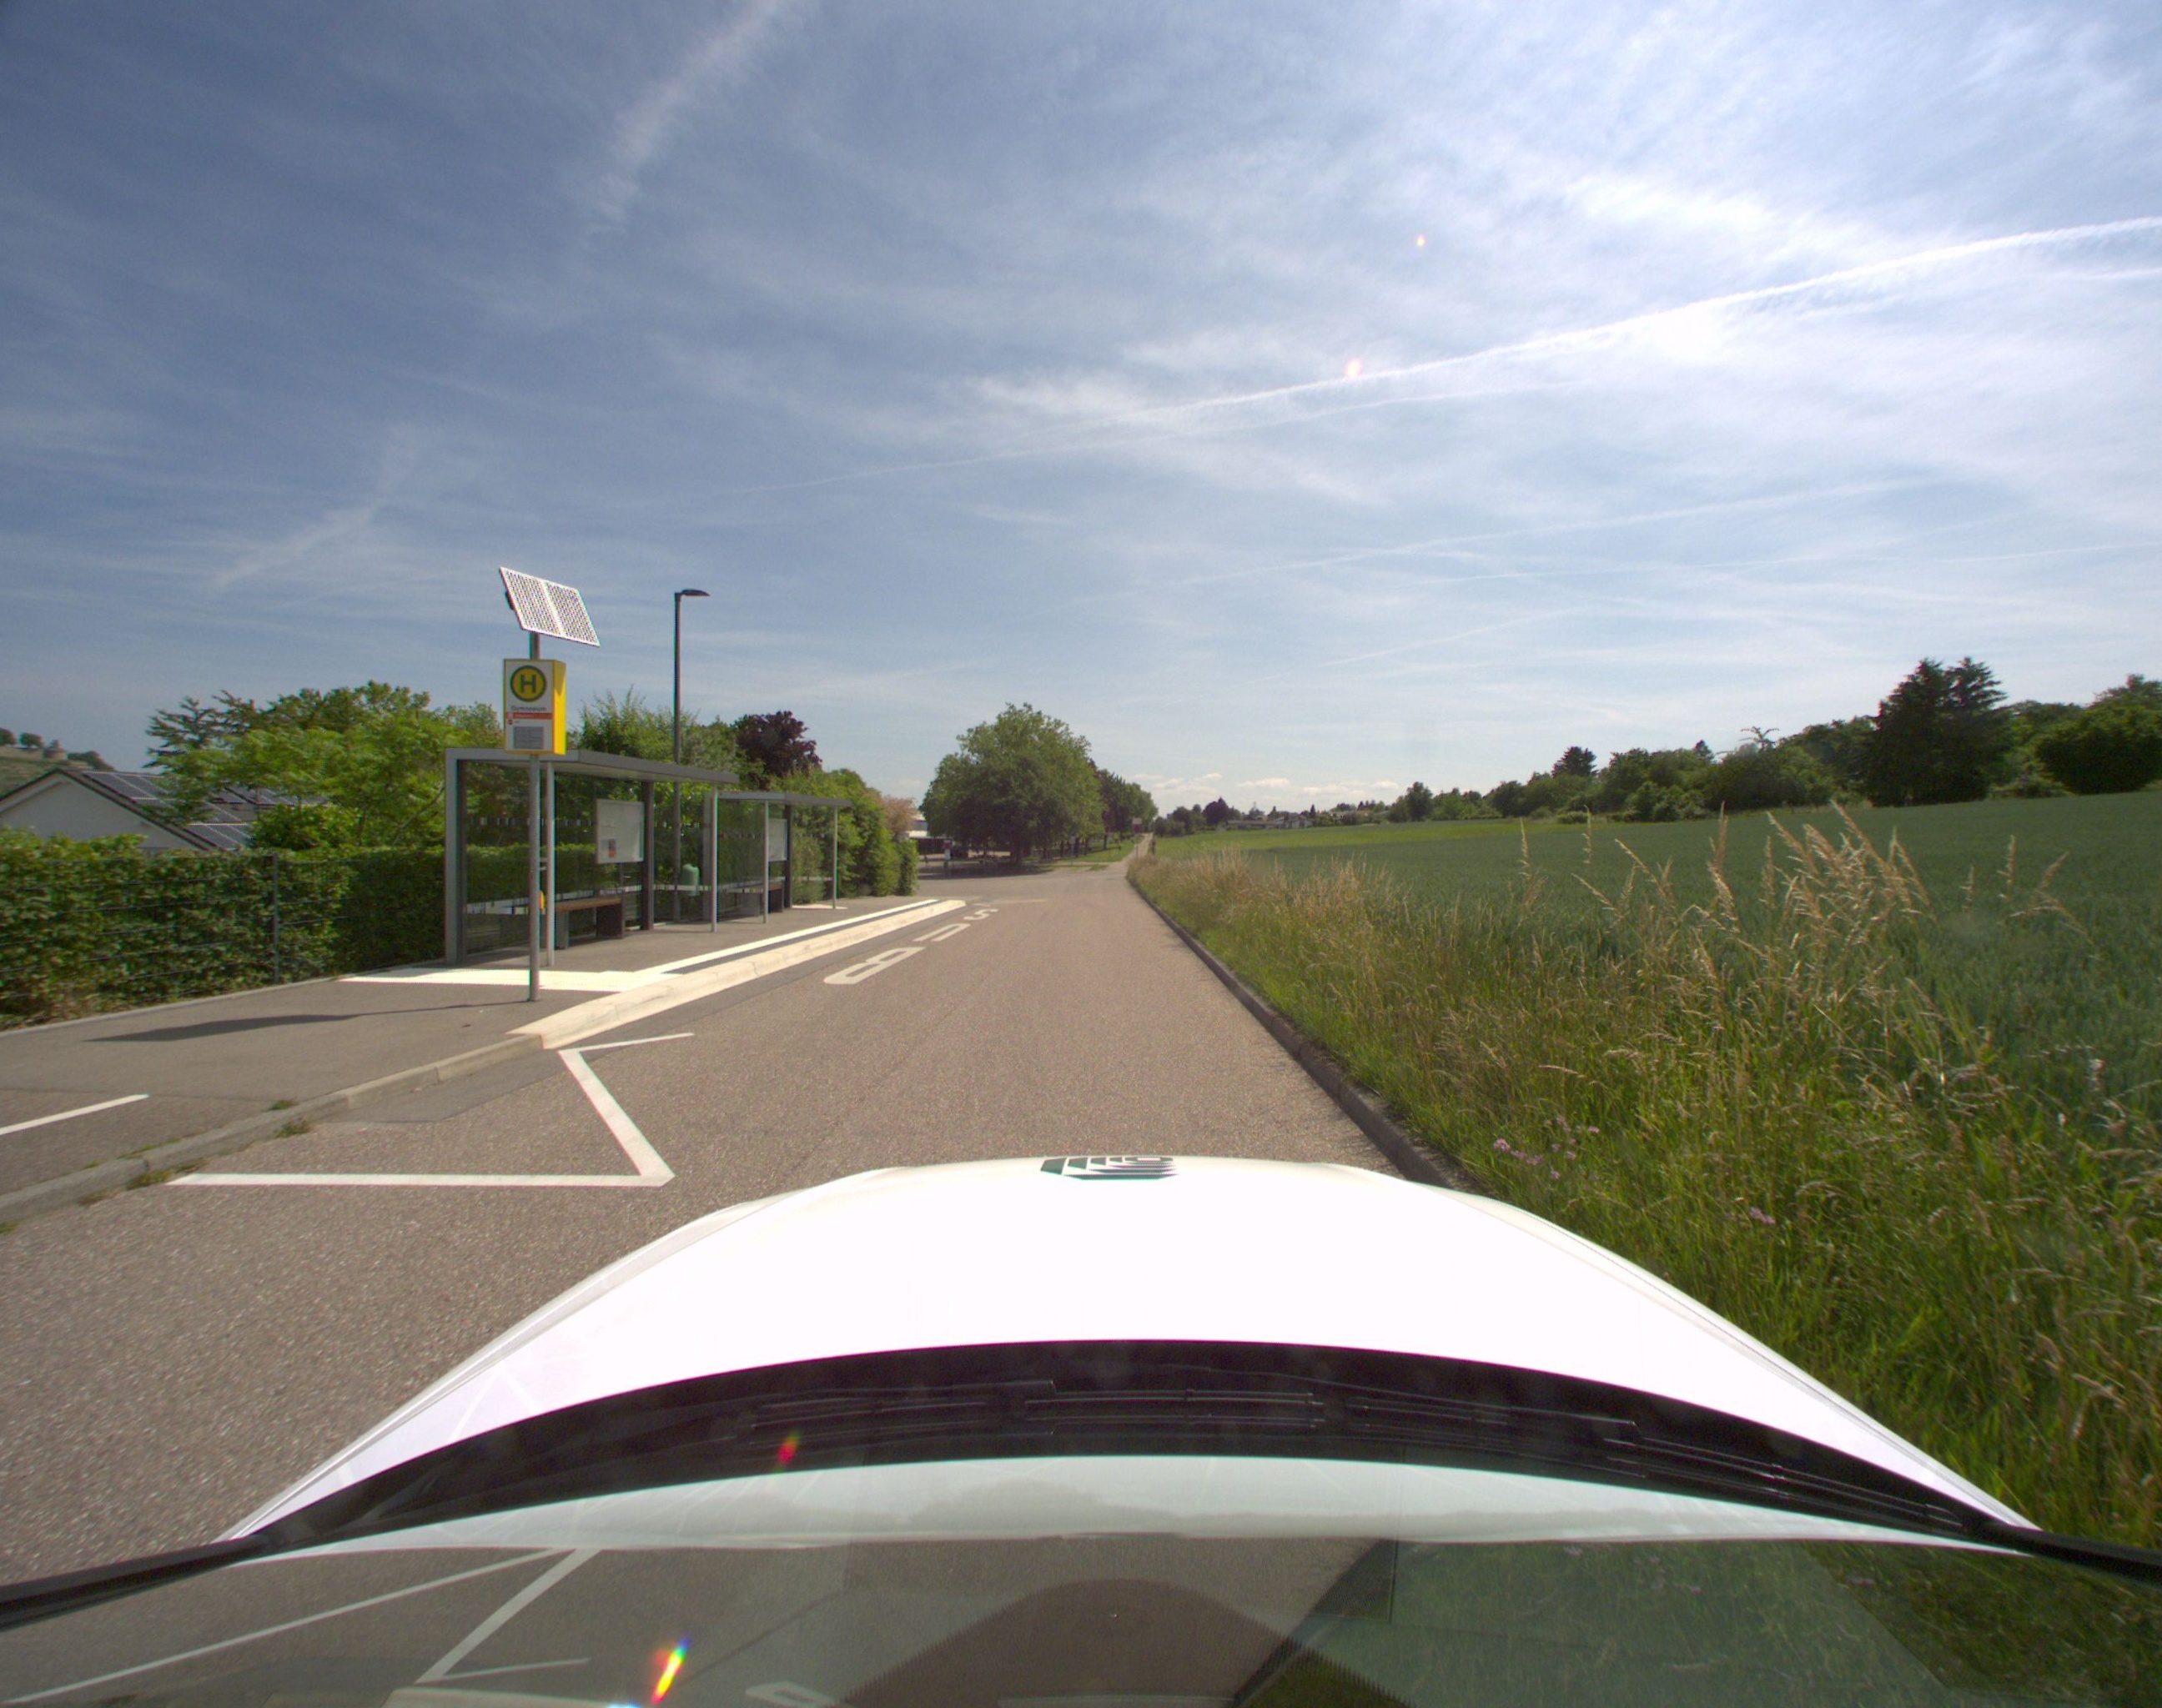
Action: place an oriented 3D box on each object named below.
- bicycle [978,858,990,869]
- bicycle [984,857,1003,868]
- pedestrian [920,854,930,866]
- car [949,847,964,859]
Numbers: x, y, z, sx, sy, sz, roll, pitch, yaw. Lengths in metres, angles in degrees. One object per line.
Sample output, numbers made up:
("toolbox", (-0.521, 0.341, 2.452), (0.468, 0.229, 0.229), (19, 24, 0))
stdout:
("bicycle", (-10.560, 1.030, 88.672), (0.590, 1.039, 1.899), (-2, 1, 12))
("bicycle", (-9.742, 0.942, 90.667), (2.058, 1.039, 0.571), (-2, 1, -4))
("pedestrian", (-18.109, 0.697, 94.767), (1.068, 1.423, 0.915), (-1, 0, -15))
("car", (-19.519, -0.182, 128.029), (1.684, 1.834, 3.413), (-1, 1, 2))
